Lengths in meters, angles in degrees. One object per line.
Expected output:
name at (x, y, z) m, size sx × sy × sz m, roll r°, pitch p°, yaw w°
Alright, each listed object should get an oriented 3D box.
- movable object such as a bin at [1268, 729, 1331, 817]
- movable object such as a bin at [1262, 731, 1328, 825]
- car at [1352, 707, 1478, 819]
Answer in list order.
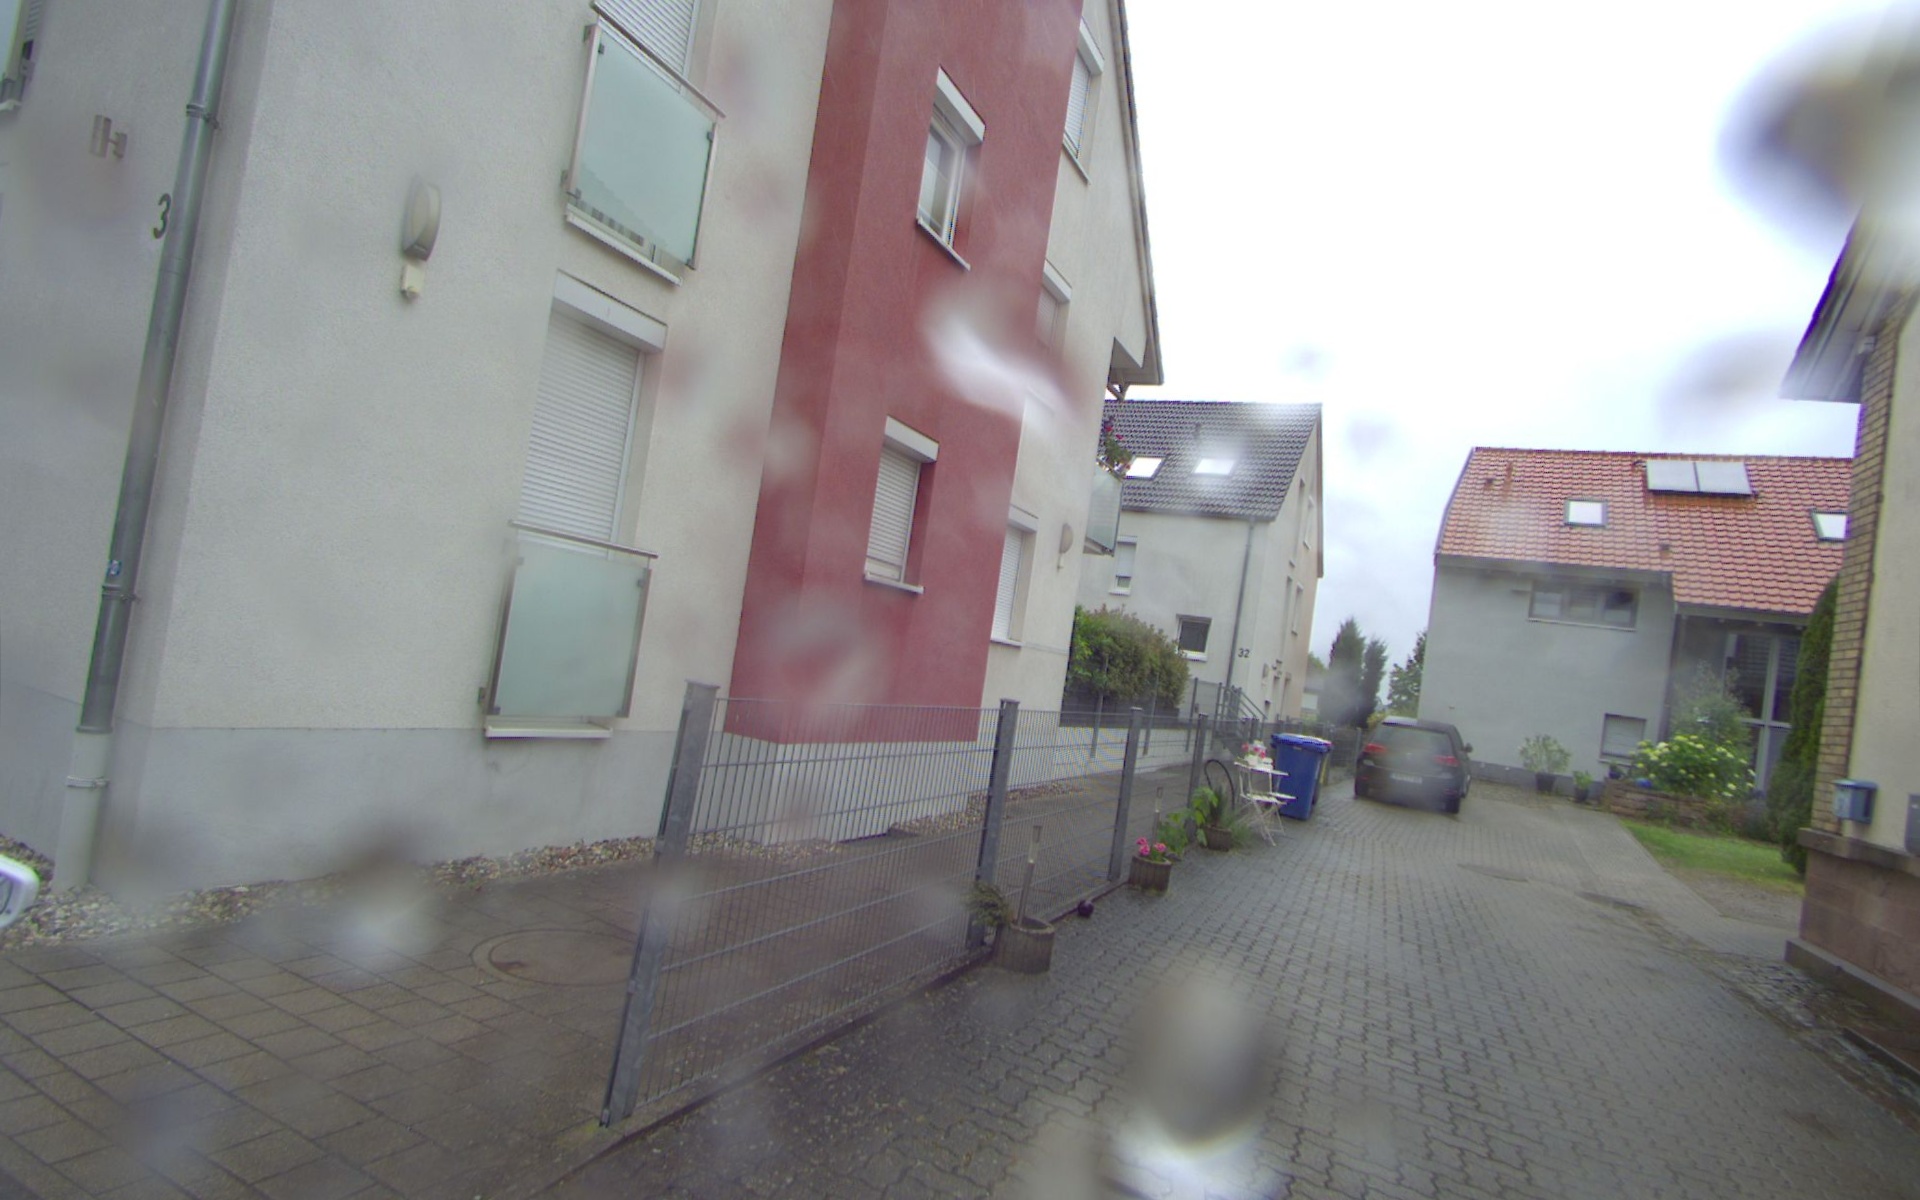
movable object such as a bin at (4.814, 2.440, 14.266) m, size 0.675 × 1.108 × 0.536 m, roll 7°, pitch -2°, yaw 25°
movable object such as a bin at (4.487, 2.365, 13.467) m, size 0.675 × 1.108 × 0.536 m, roll 7°, pitch -2°, yaw 25°
car at (8.533, 2.914, 18.681) m, size 1.656 × 1.491 × 3.993 m, roll 7°, pitch 0°, yaw 30°
